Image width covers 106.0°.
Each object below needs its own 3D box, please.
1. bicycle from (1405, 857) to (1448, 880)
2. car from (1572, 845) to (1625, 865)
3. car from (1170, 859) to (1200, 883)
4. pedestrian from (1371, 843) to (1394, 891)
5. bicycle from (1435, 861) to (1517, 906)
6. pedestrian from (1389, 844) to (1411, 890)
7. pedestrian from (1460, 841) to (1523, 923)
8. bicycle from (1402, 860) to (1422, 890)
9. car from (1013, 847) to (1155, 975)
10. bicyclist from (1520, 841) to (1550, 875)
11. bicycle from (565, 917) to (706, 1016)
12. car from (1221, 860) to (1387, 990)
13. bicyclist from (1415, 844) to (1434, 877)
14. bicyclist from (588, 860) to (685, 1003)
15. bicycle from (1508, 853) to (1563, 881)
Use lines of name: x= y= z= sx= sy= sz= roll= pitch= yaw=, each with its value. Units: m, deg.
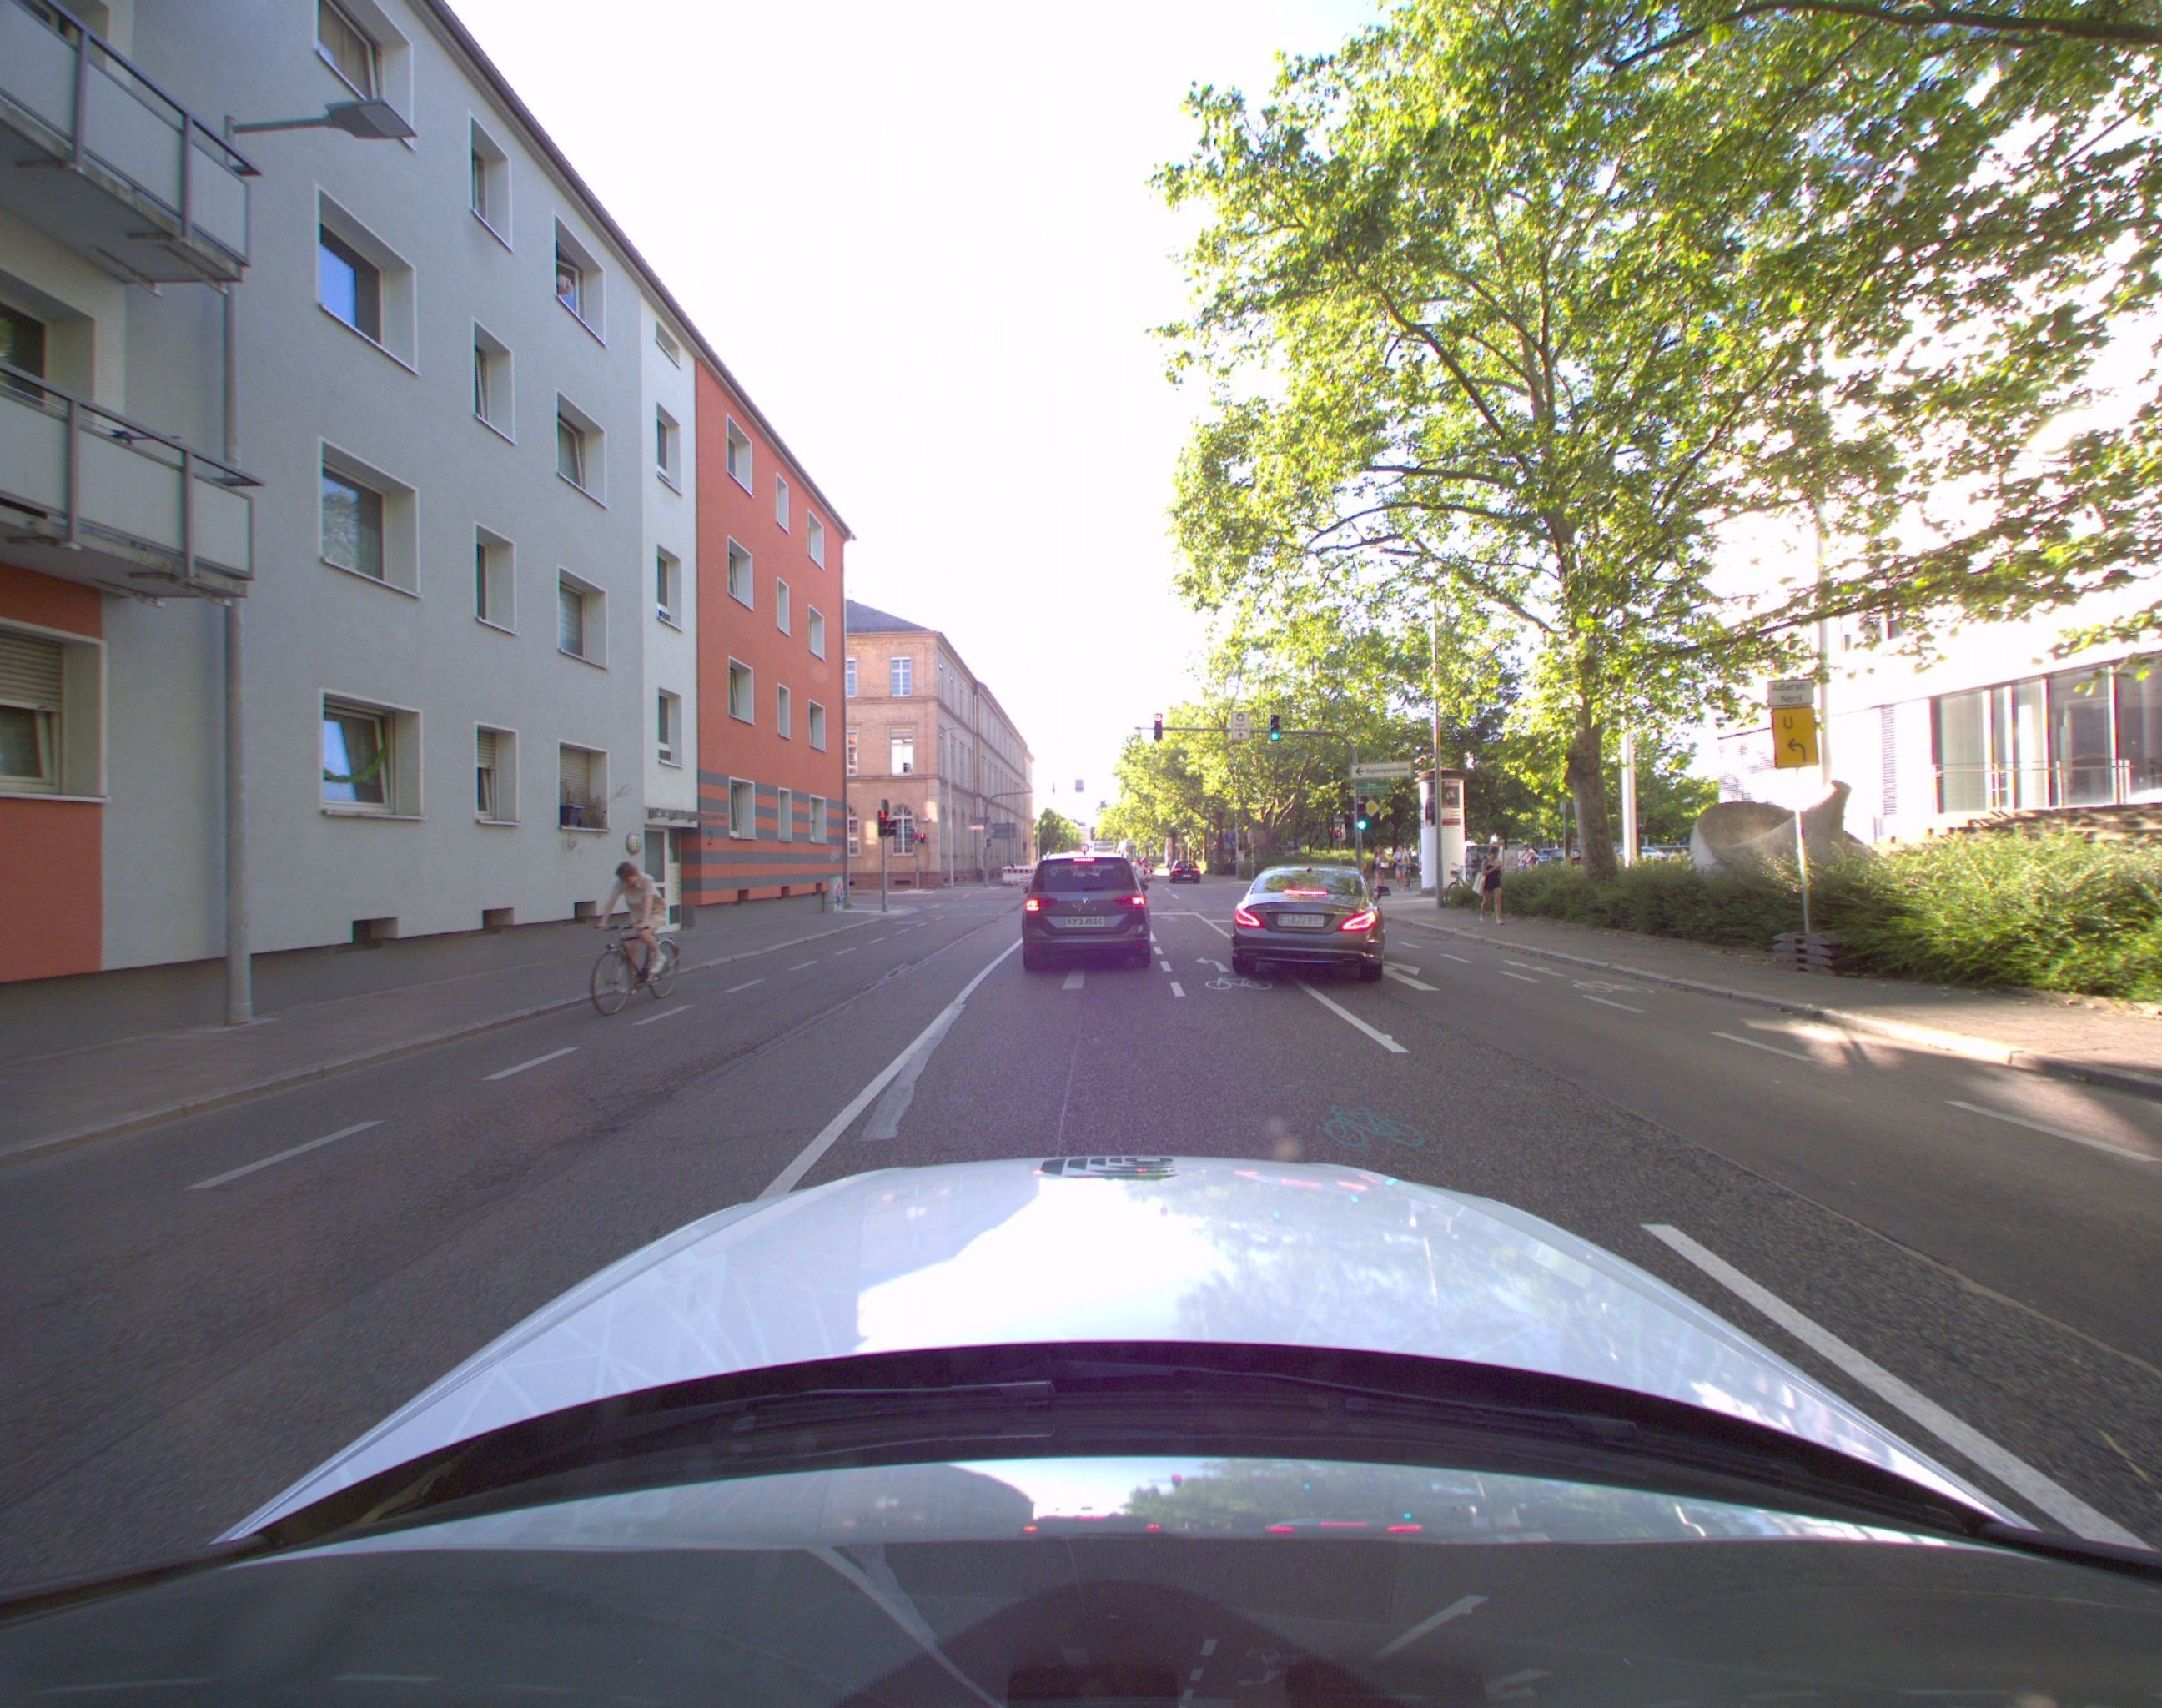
bicycle: x=18.098 y=0.762 z=42.685 sx=2.023 sy=1.220 sz=0.599 roll=-1 pitch=-1 yaw=1
car: x=39.665 y=0.116 z=62.522 sx=1.624 sy=1.483 sz=3.796 roll=0 pitch=-1 yaw=1
car: x=6.462 y=1.049 z=50.871 sx=1.682 sy=1.440 sz=3.906 roll=0 pitch=-1 yaw=4
pedestrian: x=11.628 y=0.491 z=31.393 sx=0.726 sy=1.808 sz=0.913 roll=-2 pitch=-2 yaw=19
bicycle: x=10.753 y=0.793 z=22.180 sx=1.969 sy=1.190 sz=0.528 roll=0 pitch=-1 yaw=0
pedestrian: x=12.152 y=0.491 z=31.085 sx=0.678 sy=1.697 sz=0.975 roll=-1 pitch=-1 yaw=16
pedestrian: x=8.549 y=0.581 z=16.986 sx=0.795 sy=1.630 sz=0.908 roll=-3 pitch=-2 yaw=3
bicycle: x=12.547 y=0.790 z=30.898 sx=0.520 sy=1.100 sz=1.749 roll=-1 pitch=-1 yaw=16
car: x=0.159 y=0.759 z=12.532 sx=1.801 sy=1.612 sz=4.003 roll=-2 pitch=-1 yaw=3
bicyclist: x=22.042 y=0.200 z=39.559 sx=0.960 sy=1.615 sz=0.871 roll=-1 pitch=-1 yaw=3
bicycle: x=-5.058 y=1.244 z=9.394 sx=0.546 sy=0.891 sz=1.868 roll=-1 pitch=-1 yaw=2
car: x=3.308 y=0.813 z=11.447 sx=1.827 sy=1.429 sz=4.540 roll=-1 pitch=-1 yaw=20
bicyclist: x=18.001 y=0.325 z=42.706 sx=0.707 sy=1.697 sz=0.676 roll=0 pitch=-1 yaw=1
bicyclist: x=-5.054 y=0.847 z=9.296 sx=0.646 sy=1.558 sz=0.807 roll=0 pitch=-1 yaw=1
bicycle: x=22.033 y=0.616 z=39.530 sx=2.279 sy=1.326 sz=0.660 roll=-1 pitch=-1 yaw=2
